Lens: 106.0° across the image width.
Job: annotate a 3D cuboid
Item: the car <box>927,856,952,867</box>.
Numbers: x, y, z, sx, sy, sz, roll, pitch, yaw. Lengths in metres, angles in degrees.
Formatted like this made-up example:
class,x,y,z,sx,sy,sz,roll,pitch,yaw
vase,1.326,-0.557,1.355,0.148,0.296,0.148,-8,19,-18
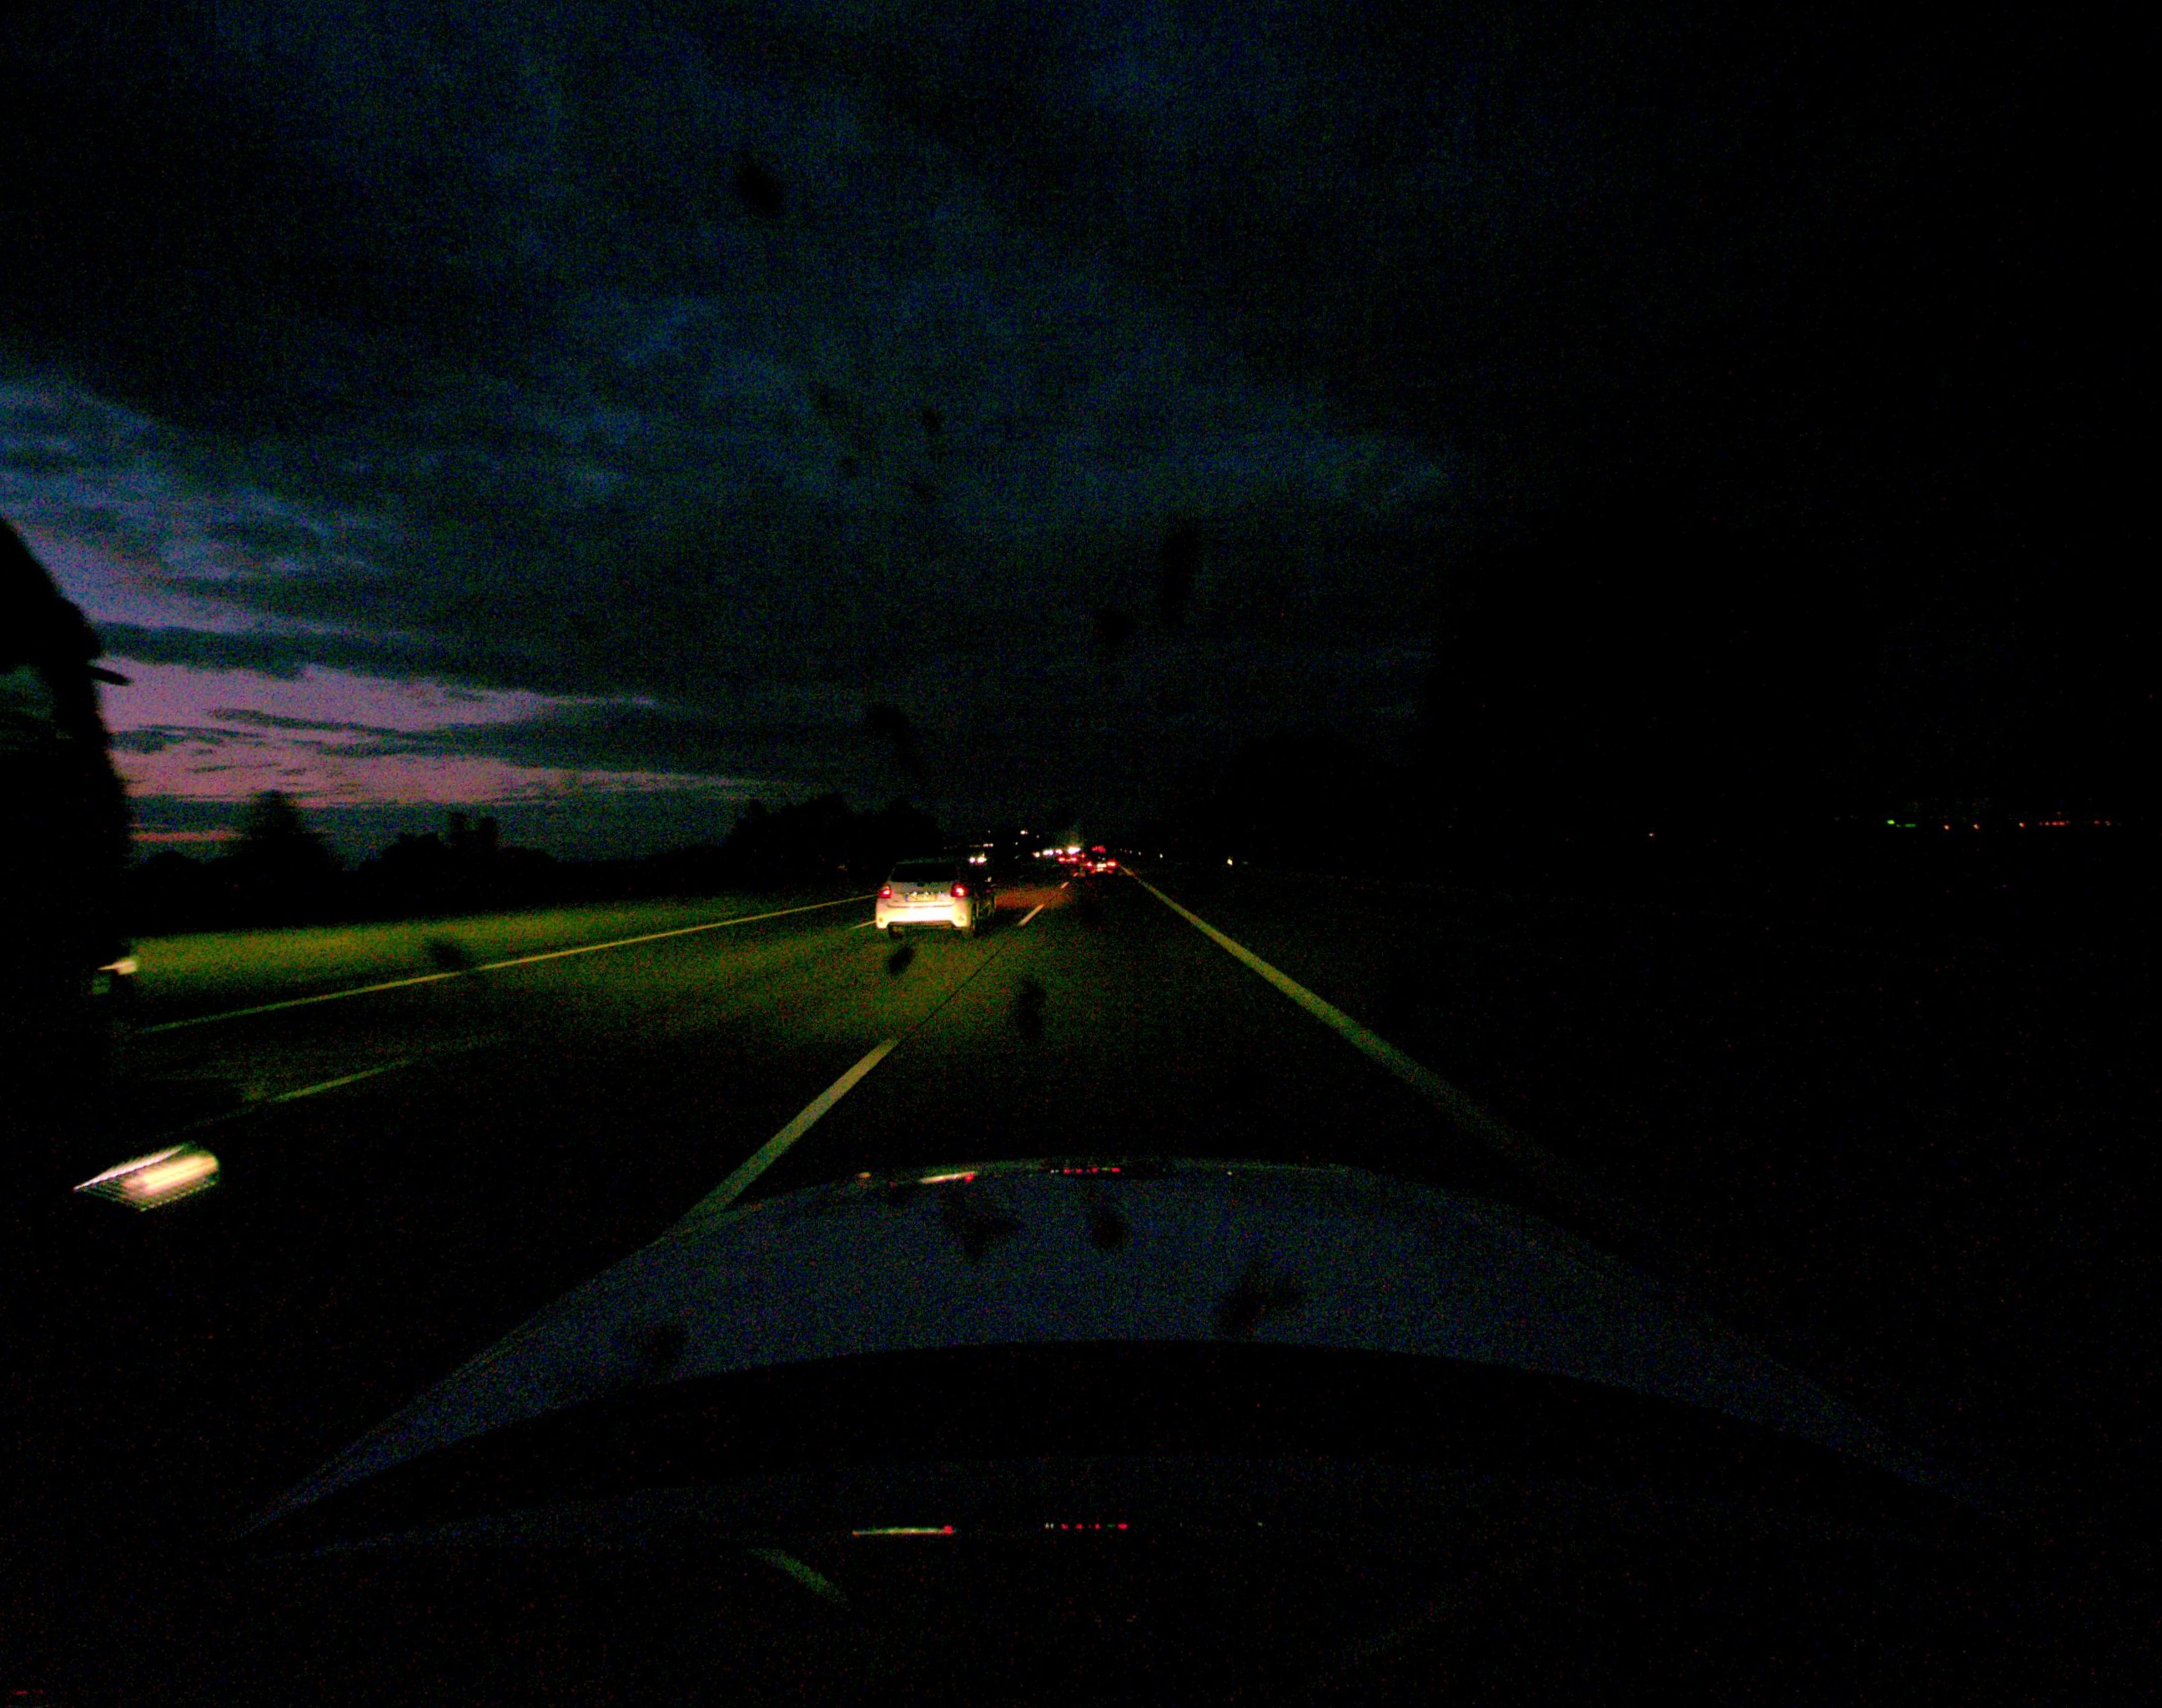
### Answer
class,x,y,z,sx,sy,sz,roll,pitch,yaw
car,-13.422,0.693,77.283,1.686,0.989,3.566,0,0,1

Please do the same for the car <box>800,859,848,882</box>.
class,x,y,z,sx,sy,sz,roll,pitch,yaw
car,-17.503,1.089,55.652,1.987,1.488,4.000,0,0,1

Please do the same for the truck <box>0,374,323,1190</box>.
class,x,y,z,sx,sy,sz,roll,pitch,yaw
truck,-6.832,-0.349,2.688,2.767,4.092,6.105,-2,0,2

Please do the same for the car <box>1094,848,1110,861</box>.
class,x,y,z,sx,sy,sz,roll,pitch,yaw
car,2.568,0.020,99.911,1.874,1.552,4.000,0,0,0

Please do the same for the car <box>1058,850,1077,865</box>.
class,x,y,z,sx,sy,sz,roll,pitch,yaw
car,-1.336,0.346,82.397,1.874,1.552,4.000,0,0,0

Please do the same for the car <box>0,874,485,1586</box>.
class,x,y,z,sx,sy,sz,roll,pitch,yaw
car,-3.180,0.805,0.695,1.716,1.471,4.728,0,0,2

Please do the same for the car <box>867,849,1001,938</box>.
class,x,y,z,sx,sy,sz,roll,pitch,yaw
car,-2.744,0.686,16.228,1.738,1.525,4.416,0,0,2

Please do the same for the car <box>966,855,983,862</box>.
class,x,y,z,sx,sy,sz,roll,pitch,yaw
car,-16.320,0.685,124.814,1.924,1.178,4.001,0,0,1

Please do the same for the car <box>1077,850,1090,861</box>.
class,x,y,z,sx,sy,sz,roll,pitch,yaw
car,0.408,0.244,134.767,2.191,1.879,4.001,0,0,1

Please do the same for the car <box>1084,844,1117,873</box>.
class,x,y,z,sx,sy,sz,roll,pitch,yaw
car,1.175,0.262,48.506,1.873,1.643,4.001,0,0,1
